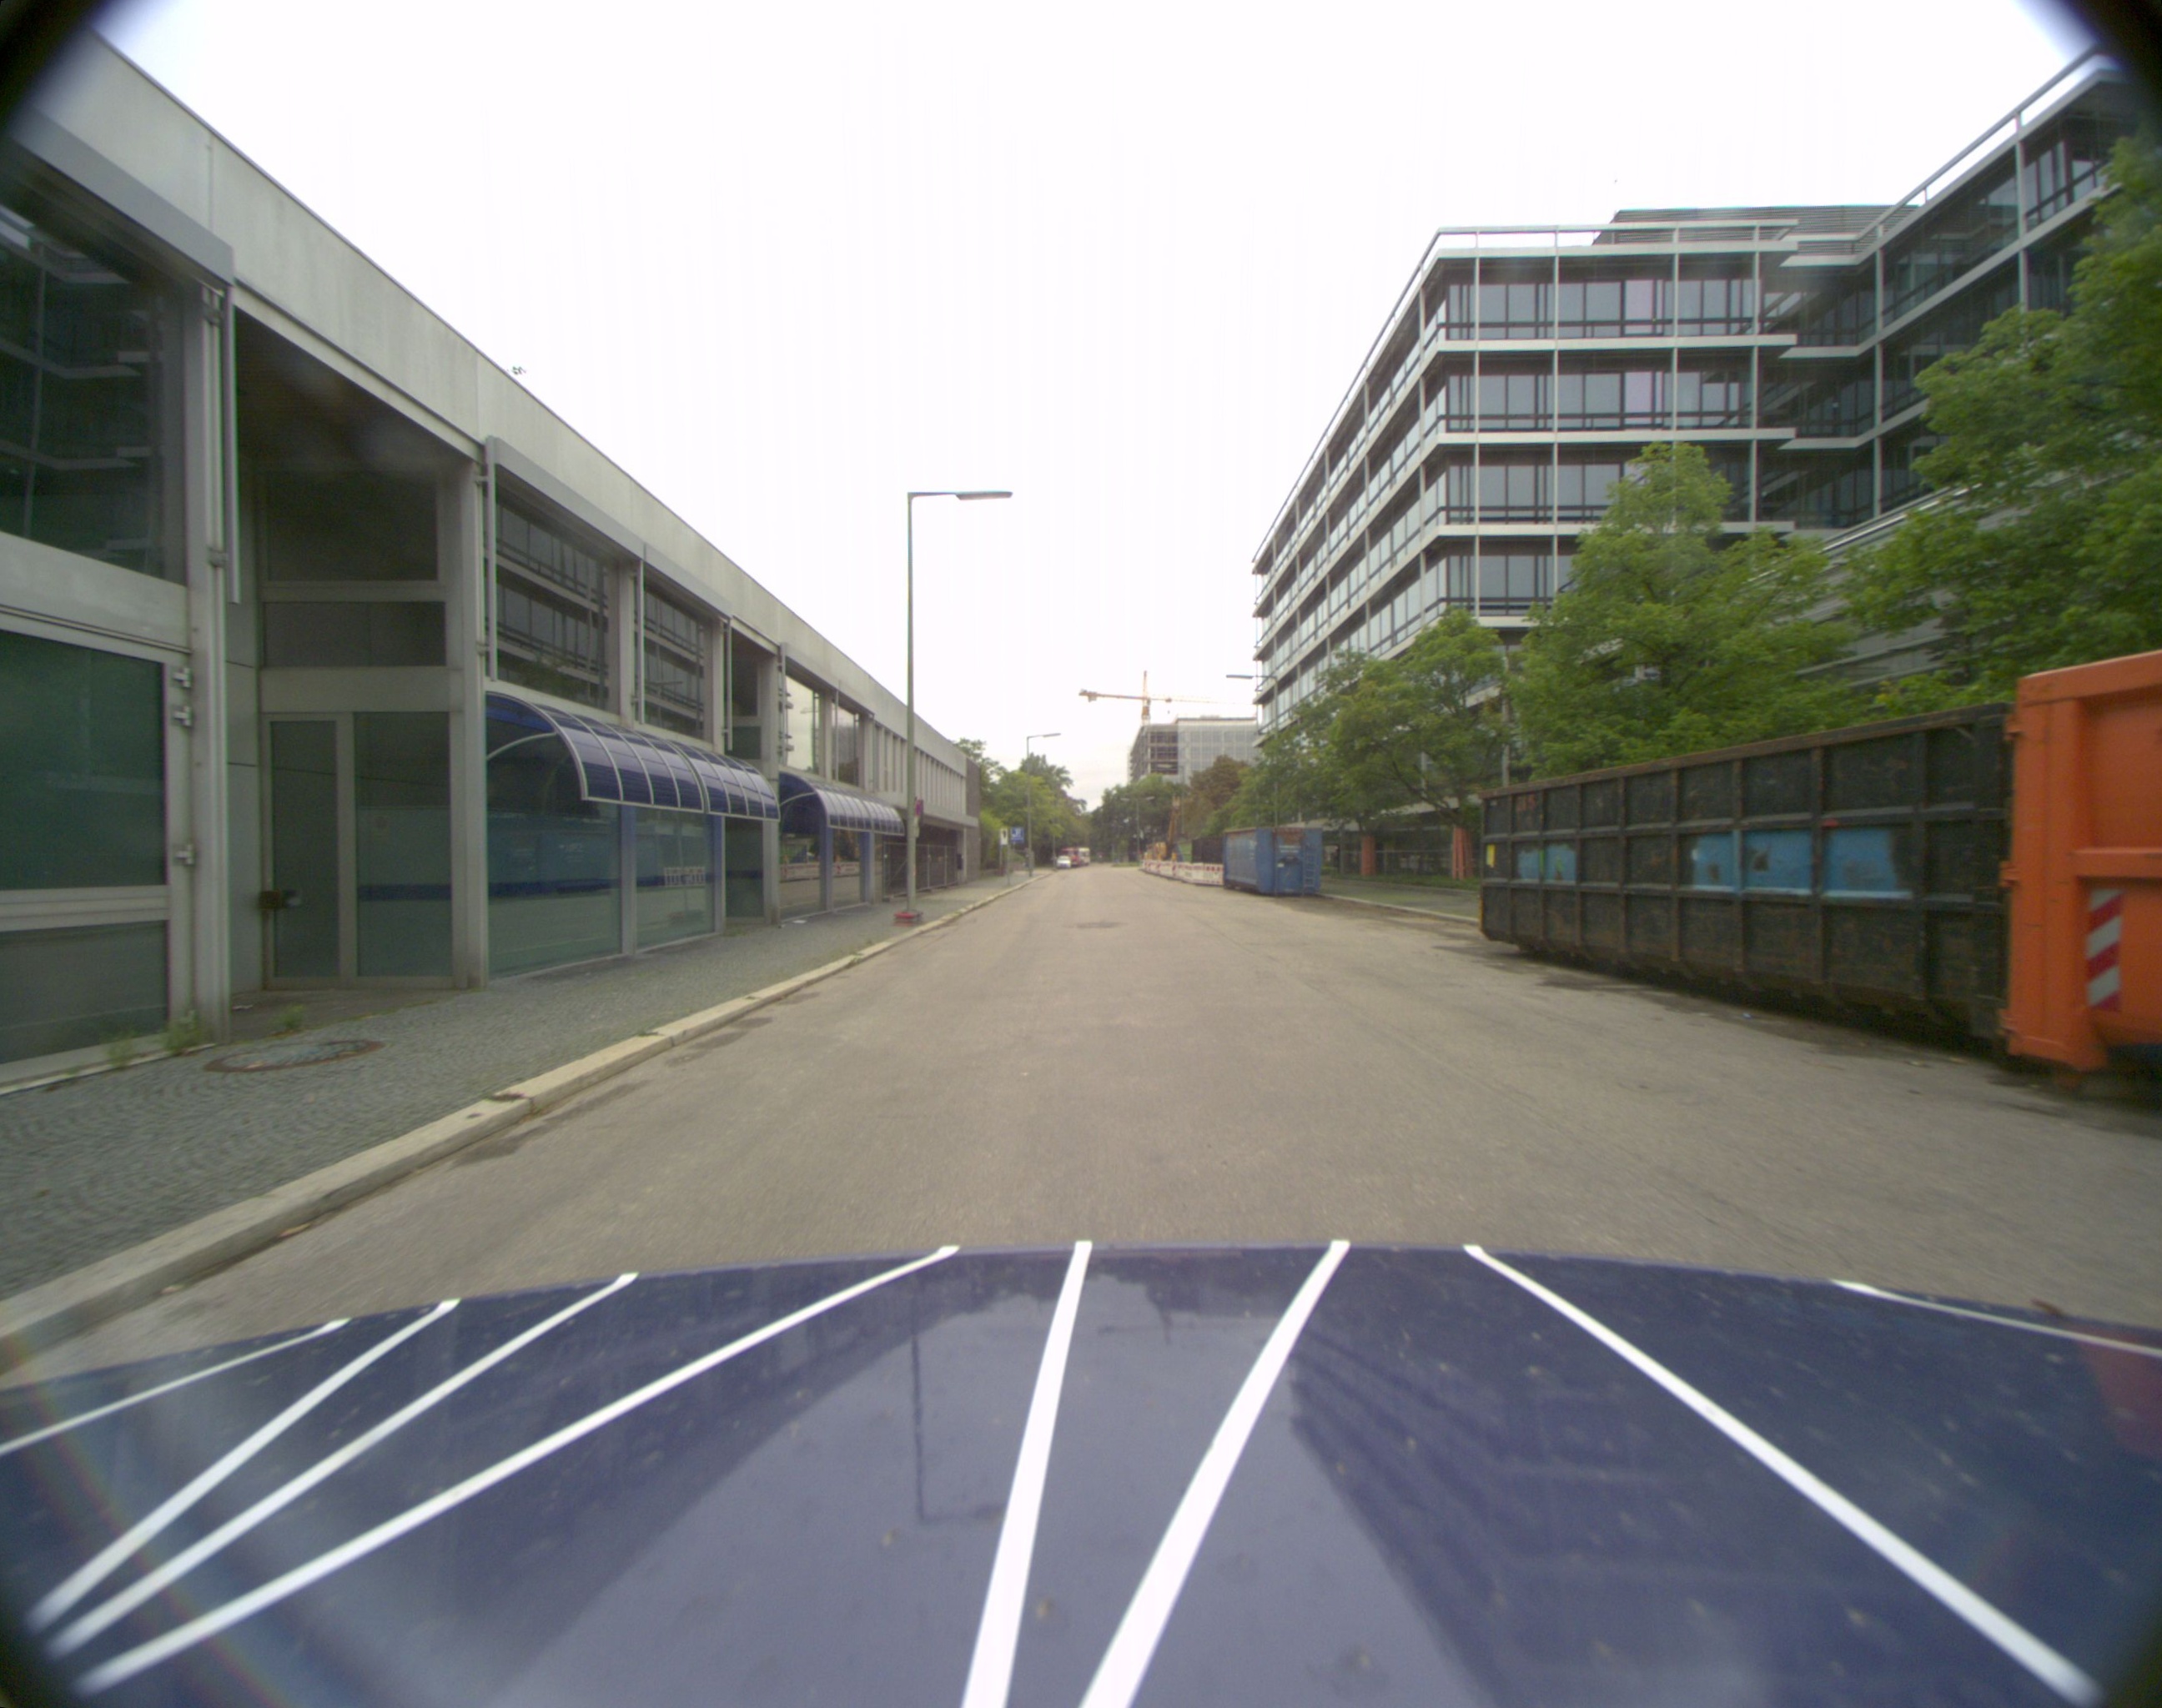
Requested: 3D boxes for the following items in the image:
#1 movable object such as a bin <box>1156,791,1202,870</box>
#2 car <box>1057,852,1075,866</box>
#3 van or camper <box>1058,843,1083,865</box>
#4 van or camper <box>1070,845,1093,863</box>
[{"bbox_3d":[8.193,-1.893,64.711,3.241,6.285,8.337,0,0,3],"label":"movable object such as a bin"},{"bbox_3d":[-1.734,0.578,90.820,1.912,1.627,4.000,0,0,2],"label":"car"},{"bbox_3d":[-1.271,-0.028,97.086,2.666,2.751,6.916,0,0,4],"label":"van or camper"},{"bbox_3d":[0.110,0.001,111.376,2.665,2.436,6.448,0,0,7],"label":"van or camper"}]
